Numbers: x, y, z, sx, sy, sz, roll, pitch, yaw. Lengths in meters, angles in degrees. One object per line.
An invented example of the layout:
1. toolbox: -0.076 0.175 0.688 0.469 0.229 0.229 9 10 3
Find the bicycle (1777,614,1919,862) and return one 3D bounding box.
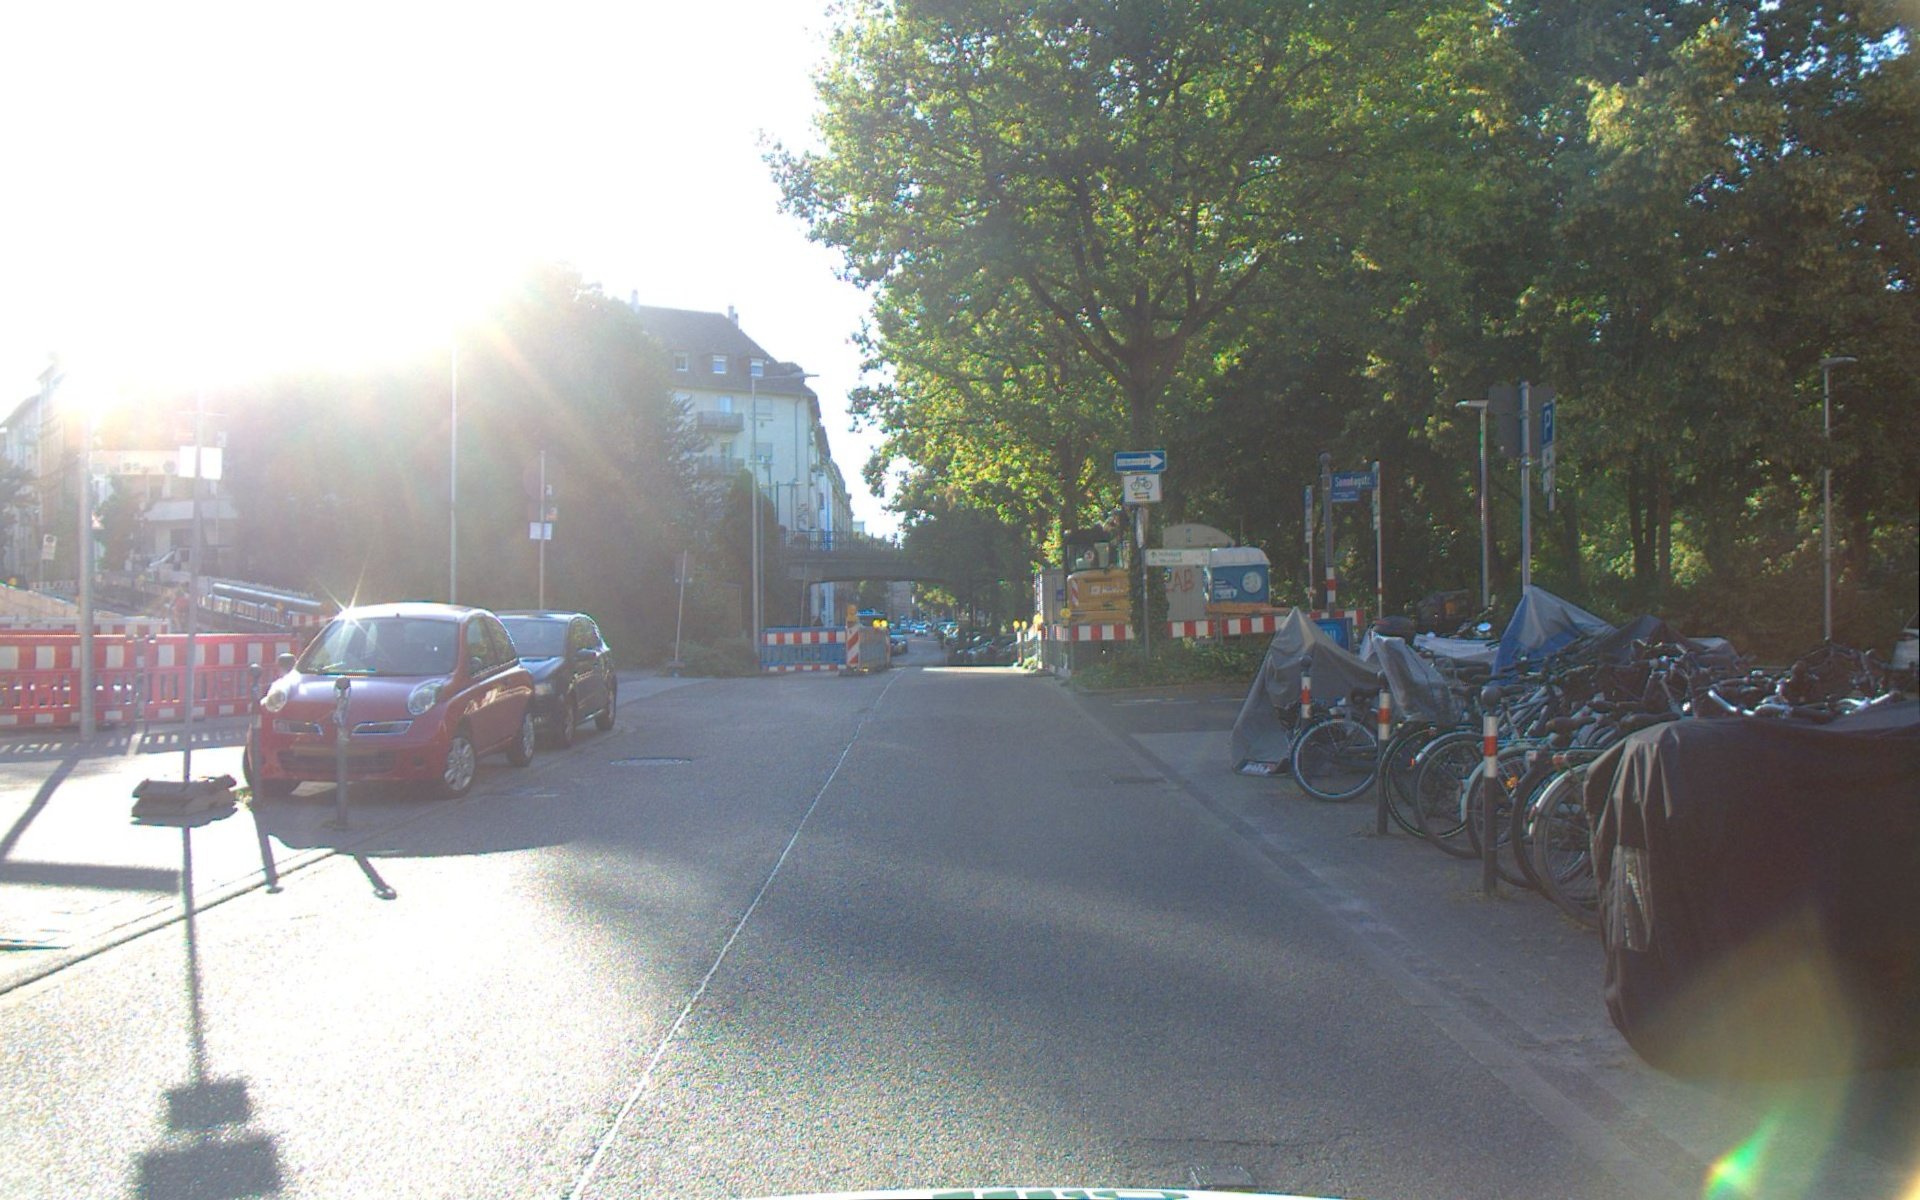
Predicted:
1. bicycle: 5.425 0.708 8.893 1.887 1.268 0.479 -1 0 -7

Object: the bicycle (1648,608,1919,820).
1. bicycle: 5.366 0.698 10.440 1.887 1.268 0.479 -1 0 -7

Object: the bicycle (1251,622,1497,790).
1. bicycle: 3.253 0.822 13.004 1.887 1.268 0.302 -1 0 -7

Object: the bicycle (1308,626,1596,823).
1. bicycle: 3.308 0.822 11.135 1.887 1.268 0.302 -1 0 -7

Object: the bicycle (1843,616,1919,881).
1. bicycle: 5.485 0.710 8.332 1.887 1.268 0.479 -1 0 -7

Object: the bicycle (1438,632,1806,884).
1. bicycle: 3.505 0.818 8.765 1.887 1.268 0.302 -1 0 -7

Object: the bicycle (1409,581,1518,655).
1. bicycle: 9.436 0.320 31.083 1.006 1.308 2.140 -2 0 -13

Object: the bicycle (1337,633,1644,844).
1. bicycle: 3.349 0.861 10.455 1.887 1.268 0.302 -1 0 -7

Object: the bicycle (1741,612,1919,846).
1. bicycle: 5.436 0.704 9.387 1.887 1.268 0.395 -1 0 -7

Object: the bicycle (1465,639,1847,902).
1. bicycle: 3.542 0.849 8.431 1.887 1.268 0.302 -1 0 -7

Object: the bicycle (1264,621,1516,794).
1. bicycle: 3.292 0.812 12.674 1.887 1.268 0.302 -1 0 -7

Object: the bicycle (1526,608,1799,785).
1. bicycle: 5.250 0.704 12.392 1.887 1.268 0.479 -1 0 -7

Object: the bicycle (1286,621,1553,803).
1. bicycle: 3.332 0.799 12.017 1.887 1.268 0.302 -1 0 -7

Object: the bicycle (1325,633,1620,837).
1. bicycle: 3.342 0.868 10.797 1.869 1.268 0.302 -1 0 -7

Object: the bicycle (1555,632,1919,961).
1. bicycle: 3.562 0.784 6.980 1.887 1.268 0.647 -1 0 -7

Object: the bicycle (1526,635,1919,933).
1. bicycle: 3.532 0.810 7.478 1.887 1.268 0.302 -1 0 -7

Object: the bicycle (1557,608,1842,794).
1. bicycle: 5.298 0.706 11.875 1.887 1.268 0.479 -1 0 -7

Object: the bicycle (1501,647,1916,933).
1. bicycle: 3.519 0.872 7.786 1.887 1.268 0.302 -1 0 -7

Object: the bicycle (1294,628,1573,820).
1. bicycle: 3.283 0.845 11.475 1.887 1.268 0.302 -1 0 -7

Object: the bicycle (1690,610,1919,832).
1. bicycle: 5.403 0.701 9.919 1.887 1.268 0.479 -1 0 -7

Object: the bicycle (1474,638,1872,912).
1. bicycle: 3.492 0.837 8.114 1.887 1.268 0.302 -1 0 -7

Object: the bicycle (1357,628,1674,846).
1. bicycle: 3.394 0.821 10.115 1.887 1.268 0.302 -1 0 -7

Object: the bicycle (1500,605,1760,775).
1. bicycle: 5.215 0.683 12.894 1.887 1.268 0.452 -1 0 -7

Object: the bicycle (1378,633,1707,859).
1. bicycle: 3.437 0.843 9.777 1.887 1.268 0.302 -1 0 -7

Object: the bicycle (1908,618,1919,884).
1. bicycle: 5.528 0.713 7.829 1.887 1.268 0.479 -1 0 -7

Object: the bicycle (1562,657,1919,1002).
1. bicycle: 3.251 0.823 6.208 1.781 1.147 0.443 -3 0 -2

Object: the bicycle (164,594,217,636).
1. bicycle: -18.651 0.355 40.075 0.797 0.985 2.081 0 0 -36

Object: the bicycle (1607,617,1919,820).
1. bicycle: 5.297 0.762 10.933 1.887 1.268 0.479 -1 0 -7

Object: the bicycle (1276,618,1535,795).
1. bicycle: 3.324 0.784 12.354 1.887 1.268 0.302 -1 0 -7

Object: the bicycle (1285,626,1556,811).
1. bicycle: 3.283 0.832 11.807 1.887 1.268 0.302 -1 0 -7

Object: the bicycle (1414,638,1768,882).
1. bicycle: 3.463 0.860 9.088 1.887 1.268 0.302 -1 0 -7

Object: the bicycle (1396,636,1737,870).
1. bicycle: 3.458 0.852 9.435 1.887 1.268 0.302 -1 0 -7
